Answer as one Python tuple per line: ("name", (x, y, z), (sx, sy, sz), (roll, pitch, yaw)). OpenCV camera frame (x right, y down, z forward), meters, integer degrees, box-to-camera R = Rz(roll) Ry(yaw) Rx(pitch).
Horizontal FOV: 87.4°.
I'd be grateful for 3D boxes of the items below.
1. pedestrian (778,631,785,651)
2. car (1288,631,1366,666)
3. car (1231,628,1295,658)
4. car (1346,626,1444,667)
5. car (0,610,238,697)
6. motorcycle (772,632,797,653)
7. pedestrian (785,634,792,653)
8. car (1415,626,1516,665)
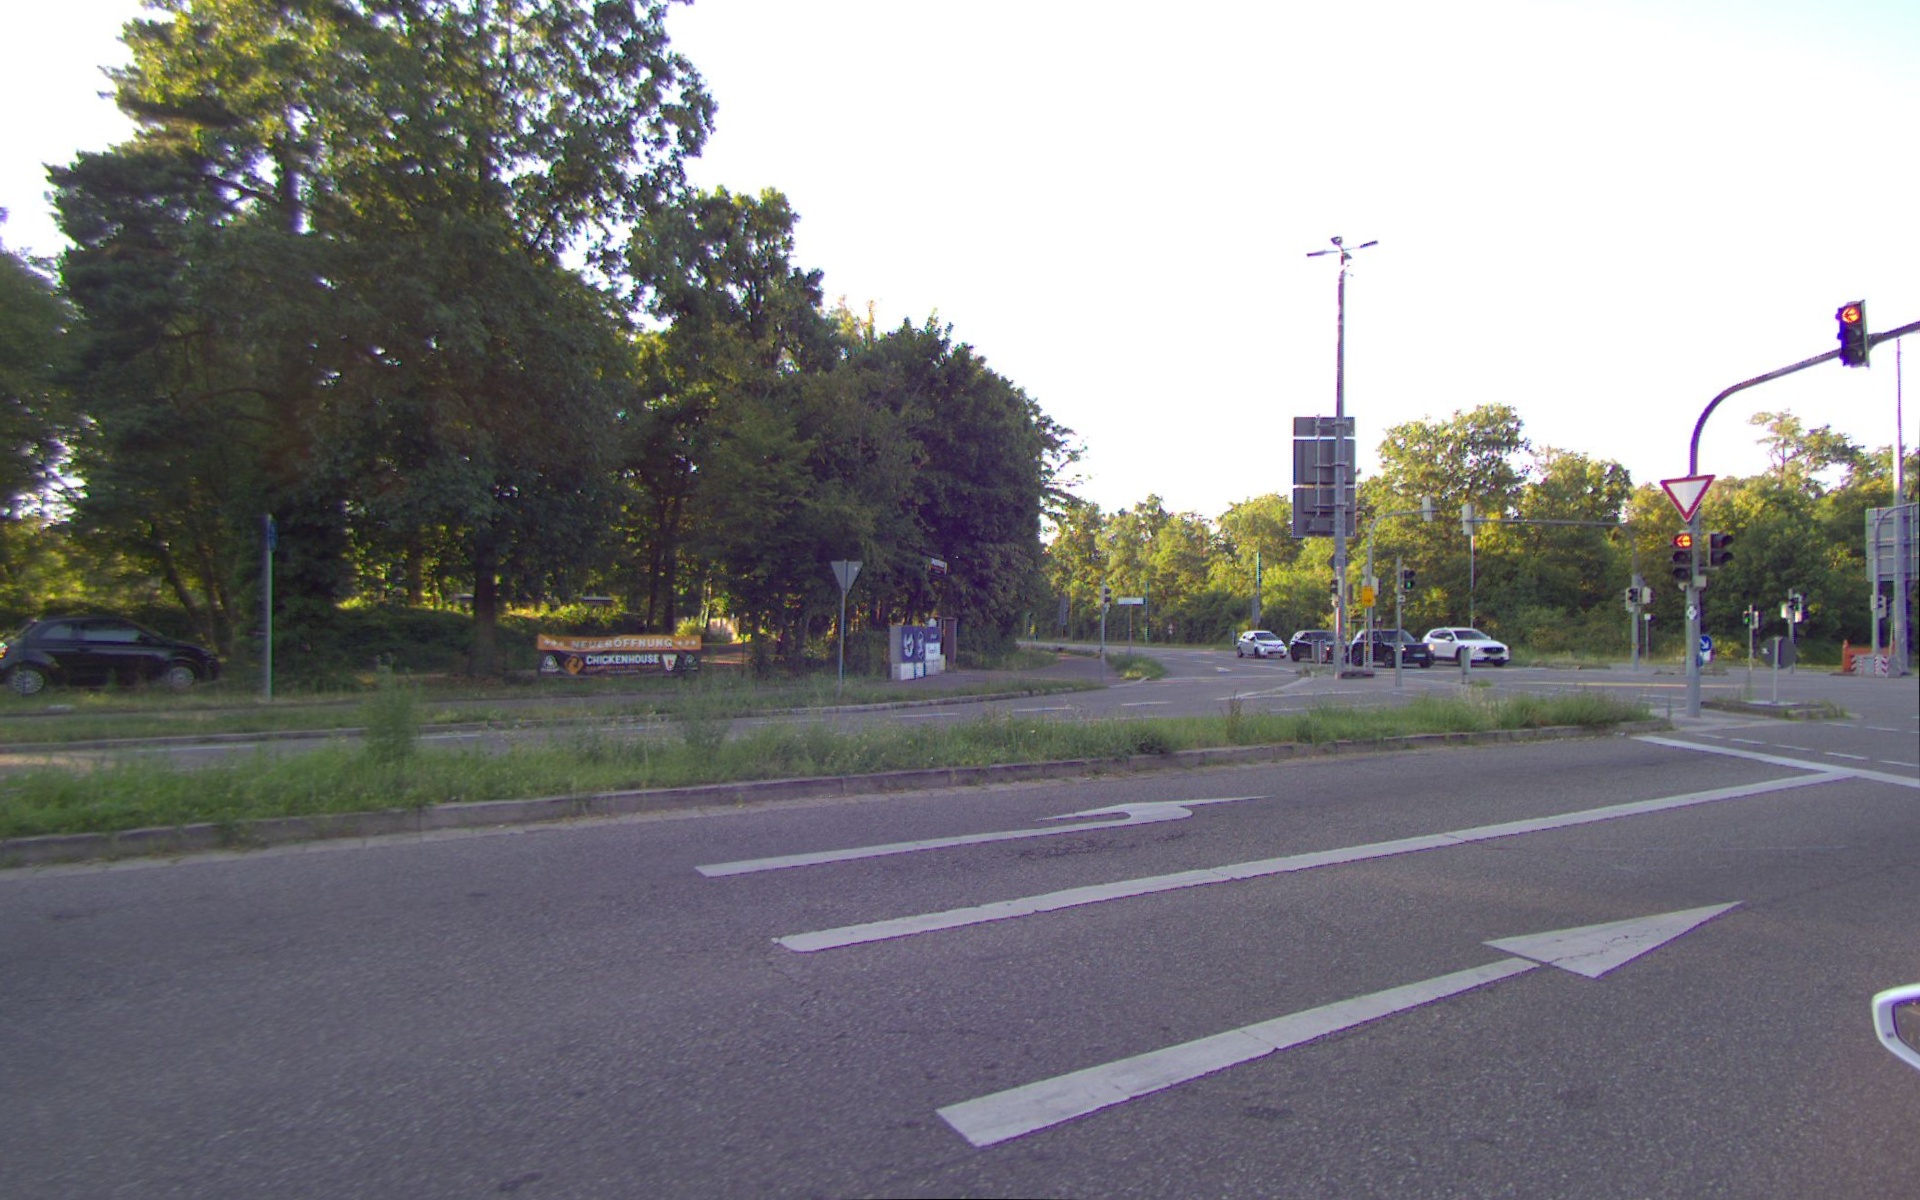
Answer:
("pedestrian", (-8.634, 1.984, 48.564), (0.316, 0.937, 0.375), (1, -1, -11))
("car", (18.288, 2.394, 50.309), (1.963, 1.661, 4.253), (1, -2, -7))
("car", (17.578, 2.464, 58.472), (1.964, 1.661, 4.251), (1, -2, -9))
("car", (18.503, 1.953, 42.958), (1.963, 1.661, 4.253), (1, -2, -7))
("car", (-17.141, 1.058, 20.544), (3.777, 1.618, 1.842), (2, -2, -35))
("motorcycle", (-8.498, 2.050, 48.588), (1.156, 1.031, 0.383), (1, -1, -12))
("pedestrian", (-8.310, 2.091, 48.621), (0.316, 0.931, 0.375), (1, -1, -11))
("car", (22.207, 1.965, 44.316), (1.963, 1.661, 4.253), (1, -2, -7))
